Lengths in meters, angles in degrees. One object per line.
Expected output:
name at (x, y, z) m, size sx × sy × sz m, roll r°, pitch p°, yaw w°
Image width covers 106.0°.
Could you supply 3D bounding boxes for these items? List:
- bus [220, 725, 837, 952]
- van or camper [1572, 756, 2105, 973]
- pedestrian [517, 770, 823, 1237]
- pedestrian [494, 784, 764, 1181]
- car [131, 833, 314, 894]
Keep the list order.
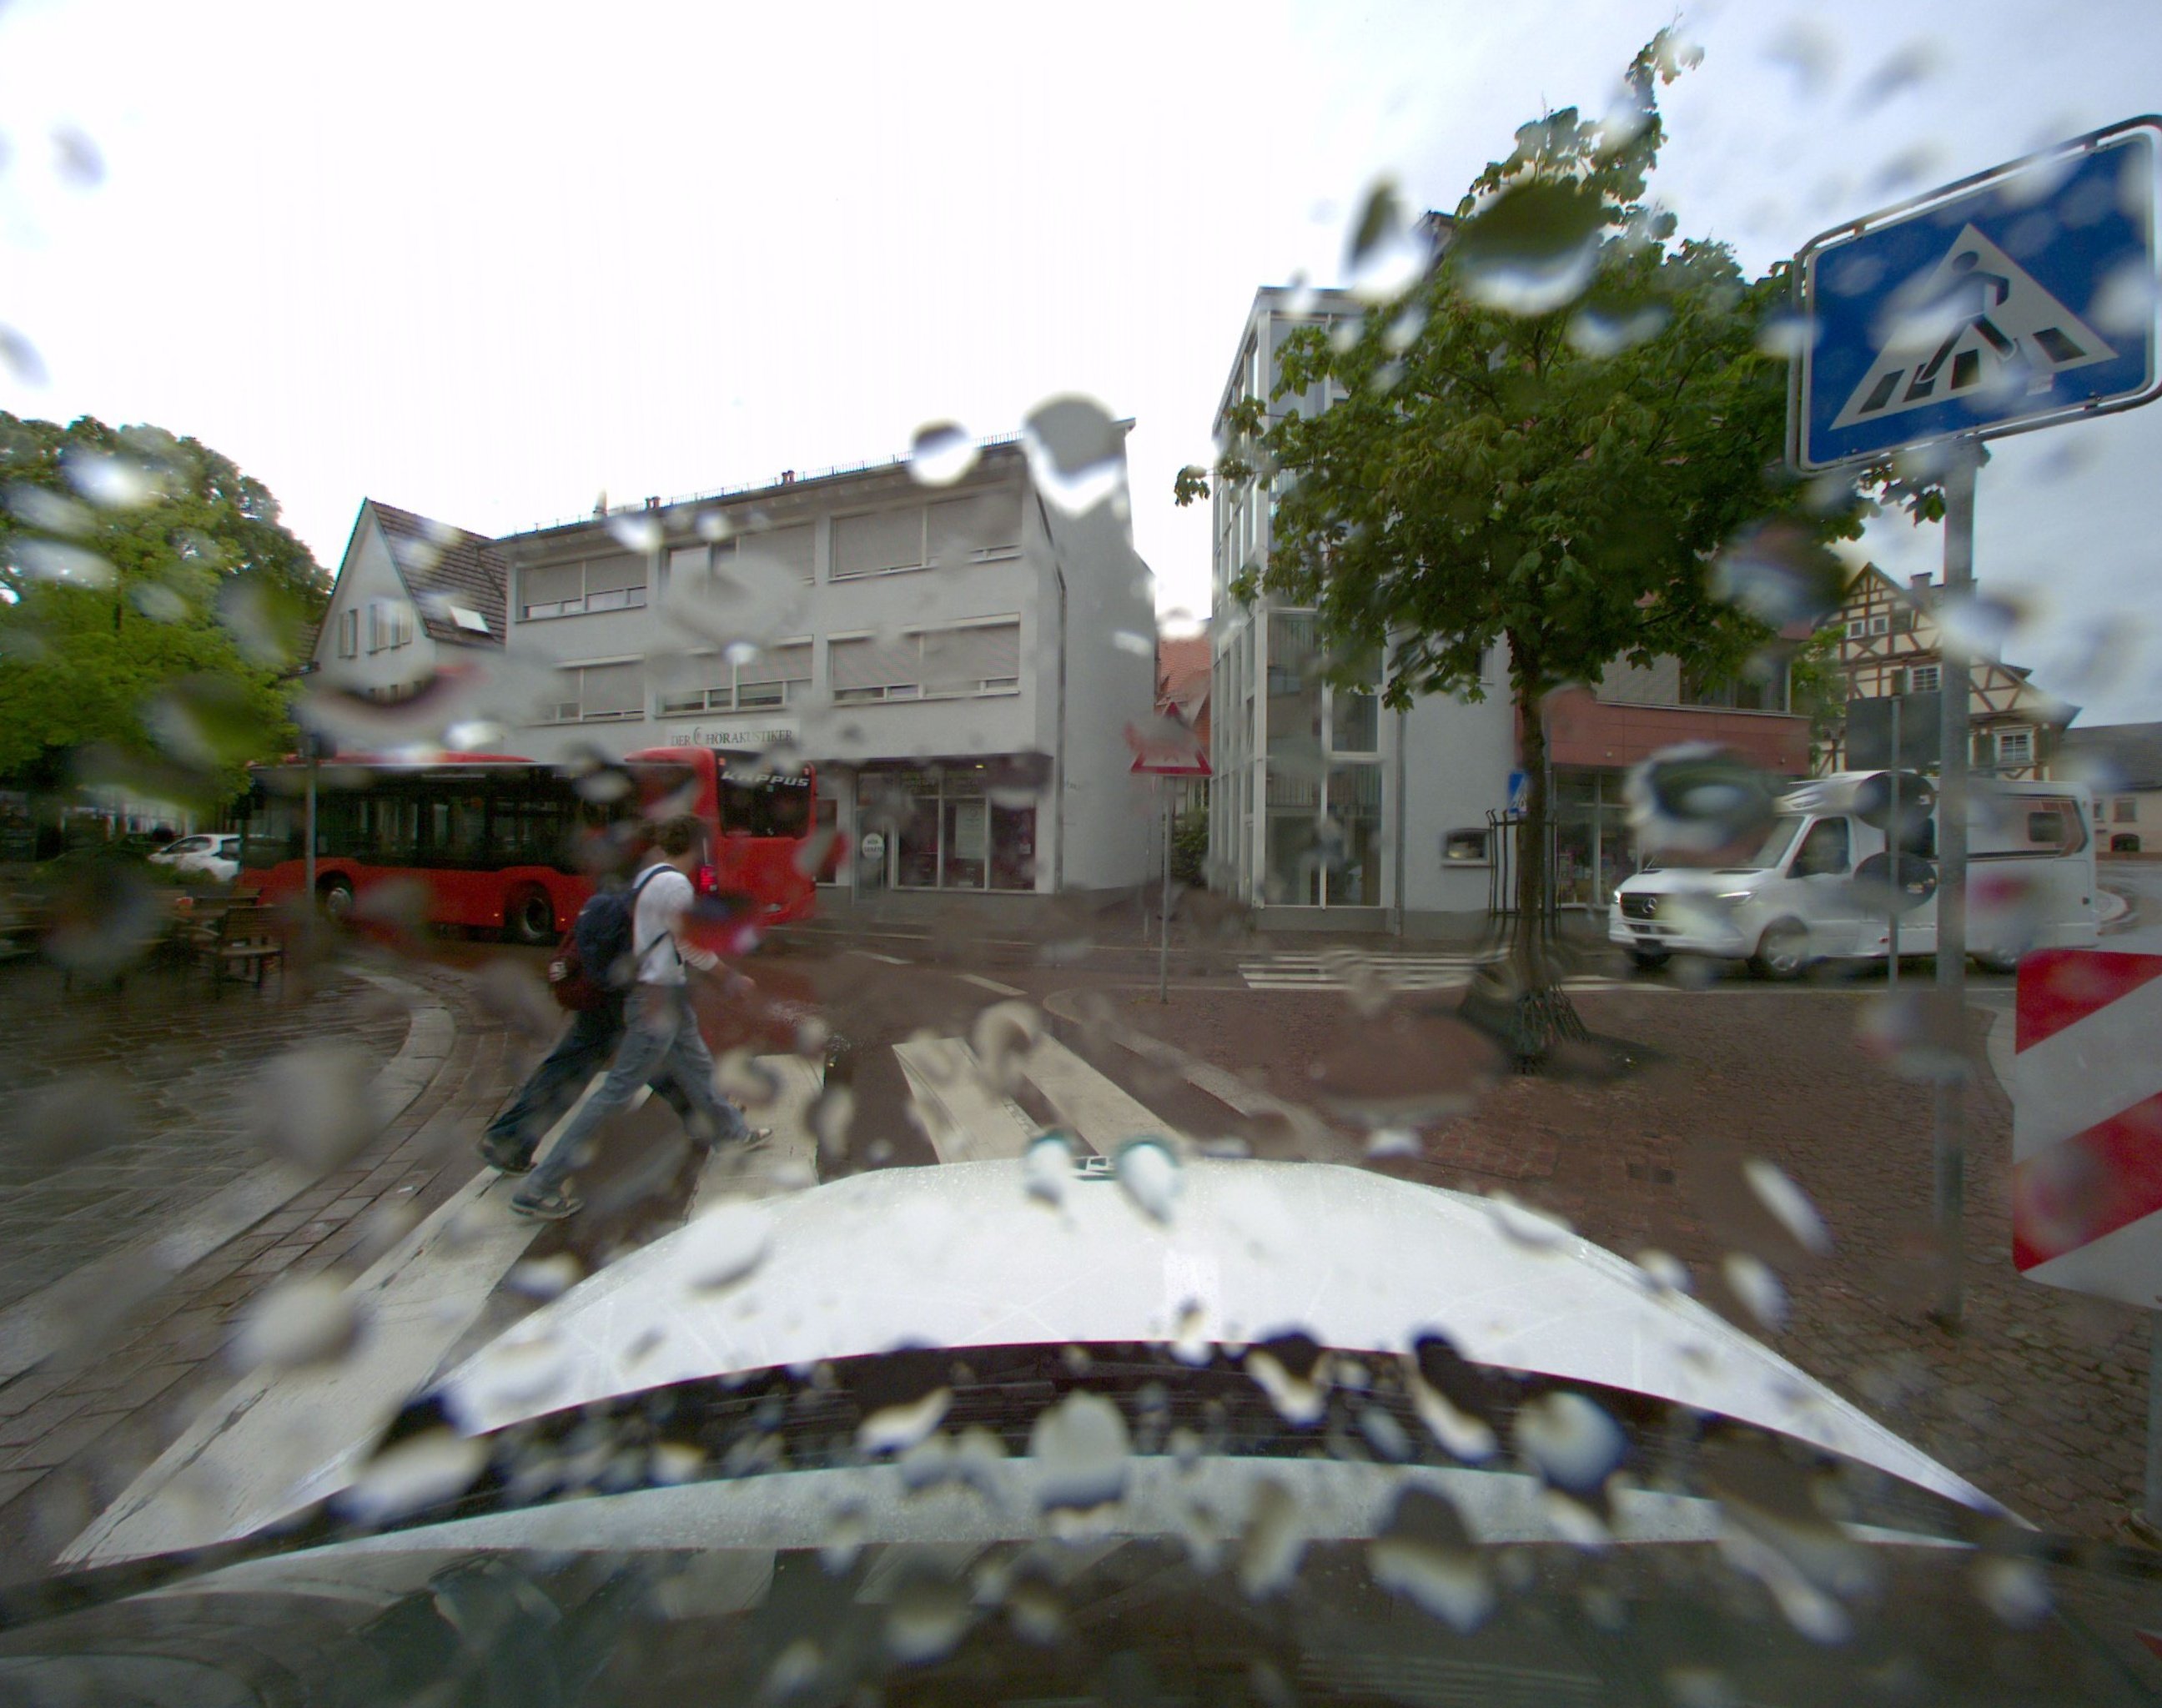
bus at (-9.579, -0.350, 13.979) m, size 10.489 × 3.088 × 2.835 m, roll 1°, pitch 1°, yaw 18°
van or camper at (10.836, 0.198, 11.769) m, size 6.740 × 2.586 × 2.433 m, roll 1°, pitch -2°, yaw -15°
pedestrian at (-1.862, 0.580, 3.782) m, size 0.657 × 1.807 × 1.068 m, roll 0°, pitch -1°, yaw 37°
pedestrian at (-2.370, 0.583, 4.334) m, size 0.685 × 1.800 × 1.065 m, roll 0°, pitch 0°, yaw 37°
car at (-22.441, 0.234, 21.307) m, size 3.817 × 1.496 × 1.808 m, roll 0°, pitch -1°, yaw 18°
